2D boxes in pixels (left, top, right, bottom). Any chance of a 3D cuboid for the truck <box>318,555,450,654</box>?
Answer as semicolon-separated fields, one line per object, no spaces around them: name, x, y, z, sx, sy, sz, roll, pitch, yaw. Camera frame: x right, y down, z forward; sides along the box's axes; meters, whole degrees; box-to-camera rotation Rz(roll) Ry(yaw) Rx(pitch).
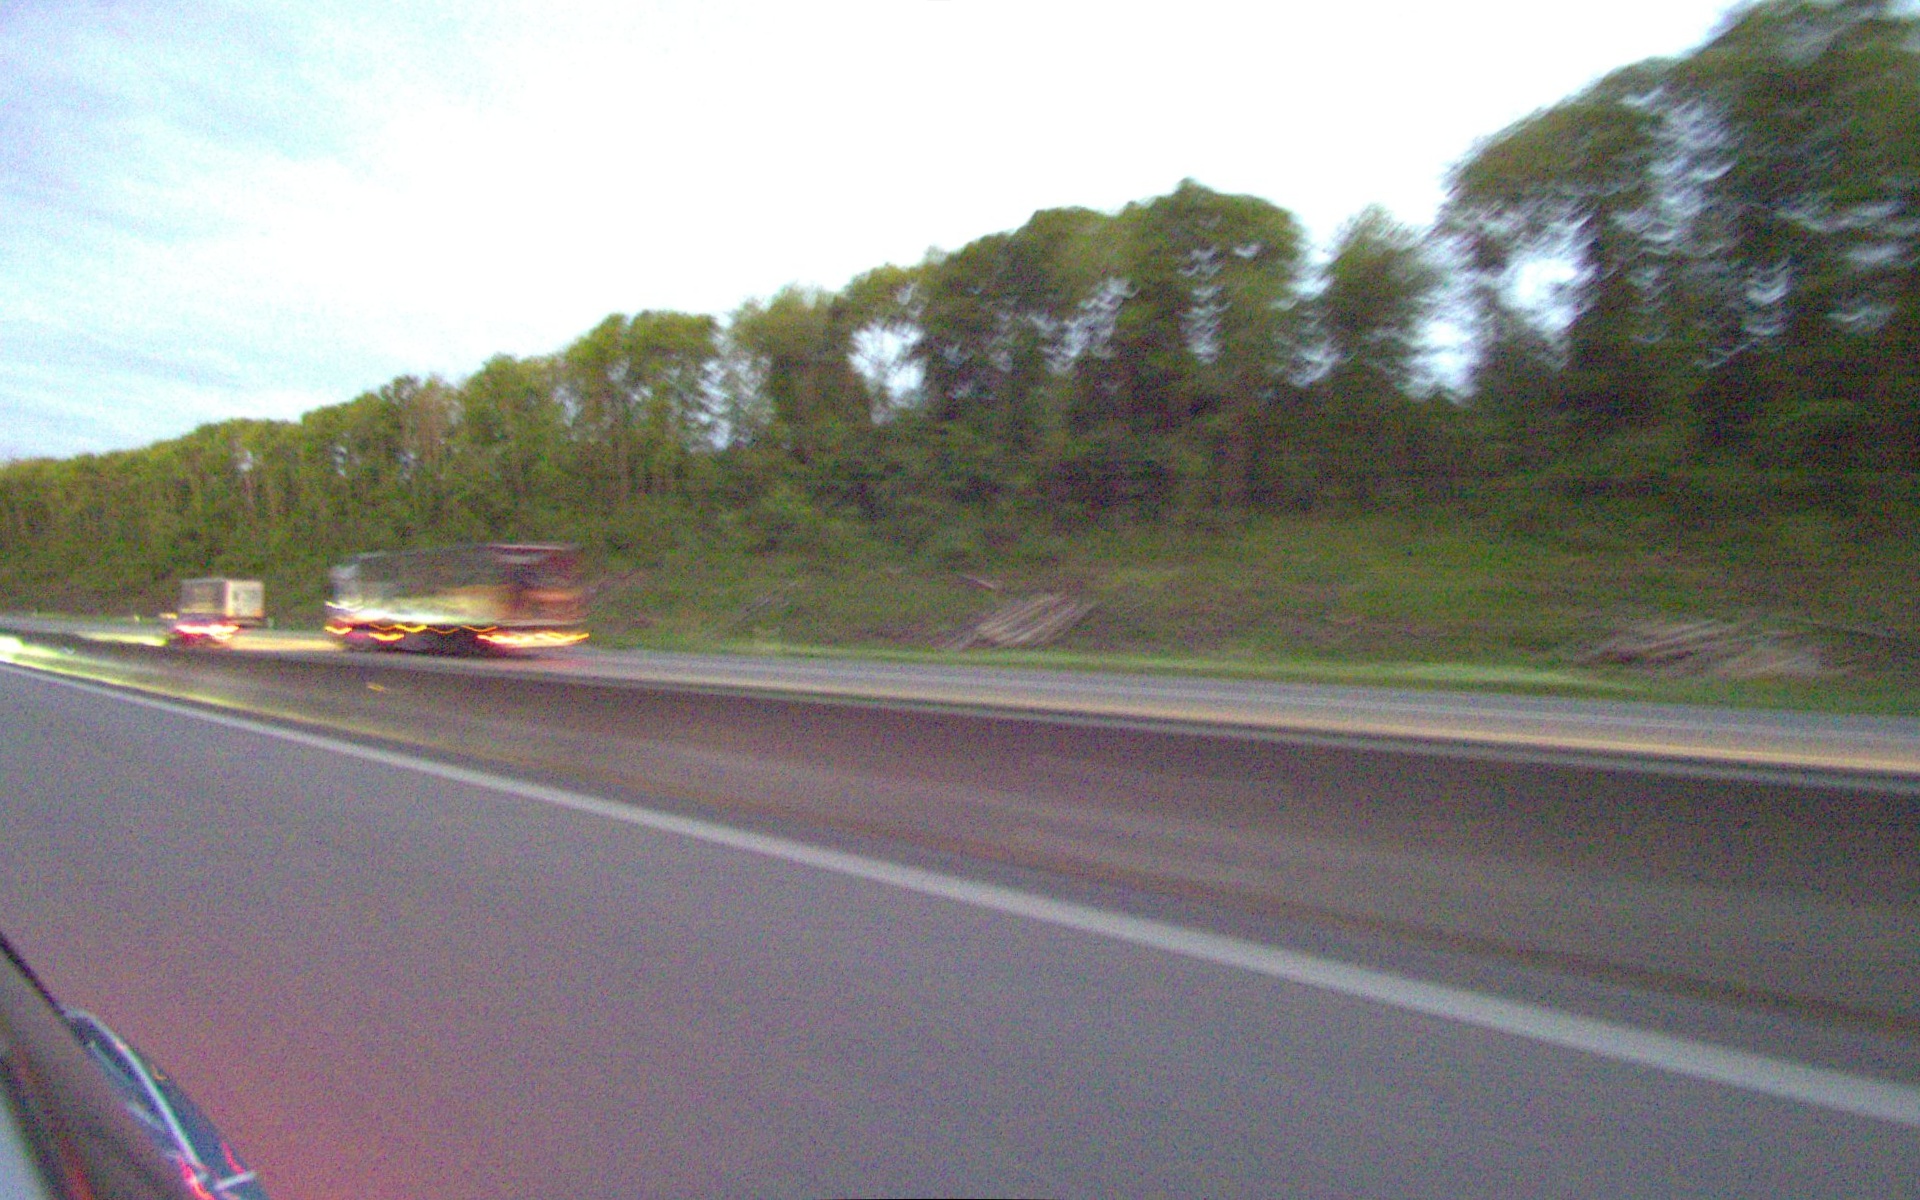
truck;-25.052;0.214;43.895;7.115;4.002;2.620;-1;-1;40

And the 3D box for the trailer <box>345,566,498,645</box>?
trailer;-31.780;0.268;59.209;14.178;4.135;3.157;0;0;42

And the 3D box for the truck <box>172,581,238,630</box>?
truck;-66.384;0.459;88.970;7.686;4.135;3.157;0;0;41

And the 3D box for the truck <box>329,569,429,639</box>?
truck;-36.422;0.238;63.311;7.686;4.135;3.157;0;0;41

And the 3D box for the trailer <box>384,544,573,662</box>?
trailer;-18.436;0.154;38.281;10.180;3.960;2.619;-1;-1;41

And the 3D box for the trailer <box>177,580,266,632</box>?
trailer;-62.520;0.448;85.509;13.733;4.135;3.158;0;0;41

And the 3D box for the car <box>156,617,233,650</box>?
car;-36.593;1.554;48.307;5.351;1.462;1.890;-1;-1;41
